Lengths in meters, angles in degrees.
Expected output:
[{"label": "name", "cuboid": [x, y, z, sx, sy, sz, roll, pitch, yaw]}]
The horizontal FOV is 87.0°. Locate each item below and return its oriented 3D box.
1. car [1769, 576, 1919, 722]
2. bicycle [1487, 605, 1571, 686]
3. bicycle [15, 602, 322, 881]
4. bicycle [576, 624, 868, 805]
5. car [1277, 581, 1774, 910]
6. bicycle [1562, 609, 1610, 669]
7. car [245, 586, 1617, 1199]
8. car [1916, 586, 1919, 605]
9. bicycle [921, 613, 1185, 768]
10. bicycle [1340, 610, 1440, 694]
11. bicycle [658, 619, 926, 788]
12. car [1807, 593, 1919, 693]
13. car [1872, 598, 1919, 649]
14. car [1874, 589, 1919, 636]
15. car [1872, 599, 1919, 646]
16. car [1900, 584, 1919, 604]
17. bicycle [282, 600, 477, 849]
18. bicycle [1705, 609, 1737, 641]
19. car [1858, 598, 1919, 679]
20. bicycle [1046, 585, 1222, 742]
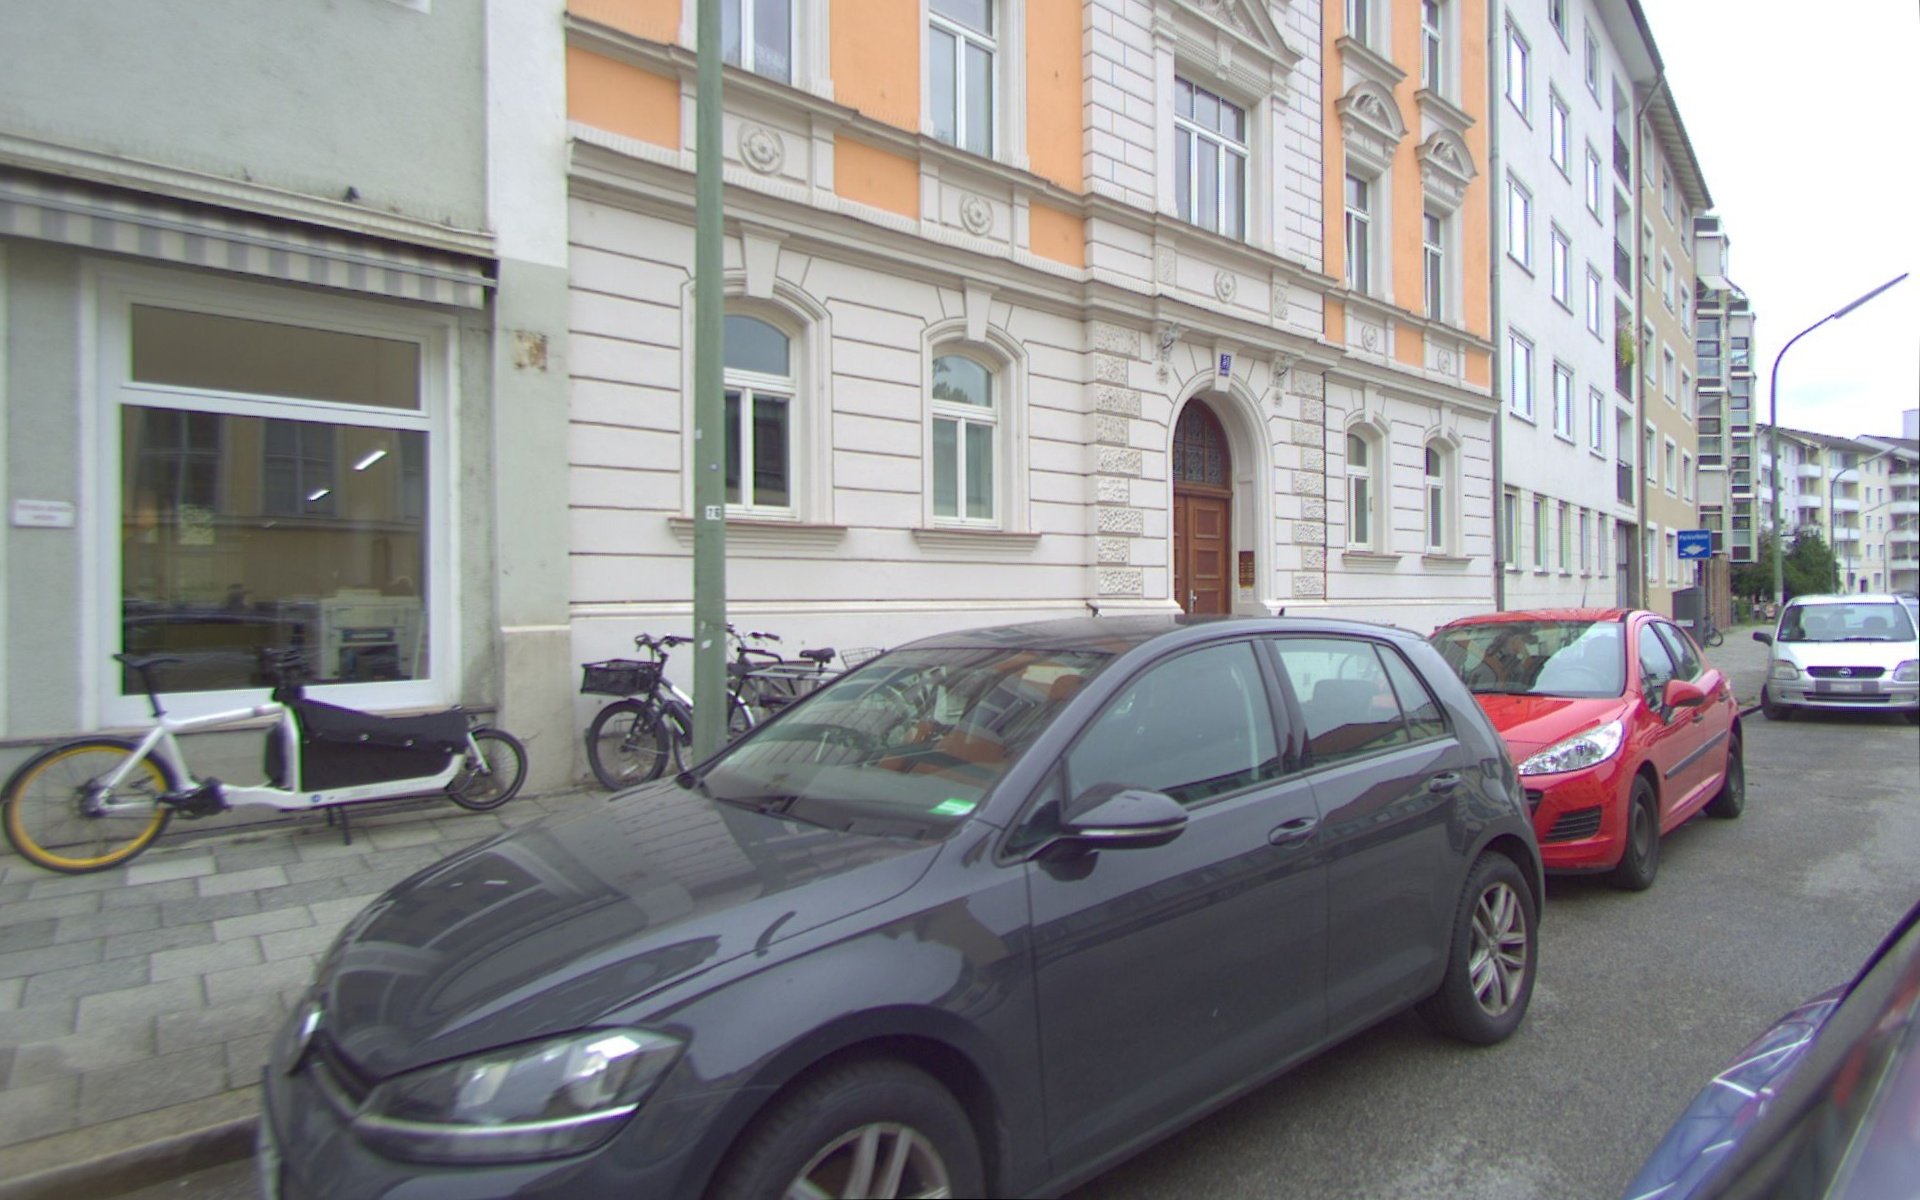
[{"label": "car", "cuboid": [12.043, 0.568, 13.504, 1.680, 1.695, 3.746, -2, -1, 42]}, {"label": "bicycle", "cuboid": [8.691, 0.655, 15.424, 0.722, 1.126, 1.965, 0, 0, 42]}, {"label": "bicycle", "cuboid": [-3.995, 0.651, 5.172, 0.248, 1.271, 1.214, 0, 0, 45]}, {"label": "bicycle", "cuboid": [-1.552, 0.721, 6.678, 1.817, 1.081, 0.514, 0, 0, 9]}, {"label": "car", "cuboid": [3.939, 0.691, 6.718, 4.077, 1.519, 1.688, 0, -2, -43]}, {"label": "bicycle", "cuboid": [12.152, 0.733, 19.611, 0.528, 1.085, 1.972, 0, 0, 39]}, {"label": "car", "cuboid": [0.365, 0.689, 3.270, 4.285, 1.420, 1.691, -1, 0, -39]}, {"label": "car", "cuboid": [84.720, -0.391, 87.889, 3.929, 1.660, 1.997, -1, 0, -40]}, {"label": "bicycle", "cuboid": [0.742, 0.704, 8.226, 2.056, 1.153, 0.583, 1, 0, 7]}, {"label": "bicycle", "cuboid": [5.870, 0.671, 13.772, 1.787, 1.037, 0.596, 0, 1, -44]}, {"label": "bicycle", "cuboid": [-1.147, 0.699, 7.108, 1.778, 1.103, 0.622, 0, 0, -5]}, {"label": "car", "cuboid": [15.869, 0.635, 17.031, 4.468, 1.513, 1.745, 0, 0, -40]}, {"label": "car", "cuboid": [28.878, 0.666, 30.632, 1.853, 1.432, 4.938, -1, 0, 42]}, {"label": "car", "cuboid": [36.101, 0.437, 38.349, 1.874, 1.666, 4.579, 0, 0, 38]}, {"label": "car", "cuboid": [32.516, 0.721, 34.542, 1.754, 1.383, 4.712, -6, -3, 40]}, {"label": "car", "cuboid": [78.621, -0.487, 82.746, 3.928, 1.616, 1.998, -1, 0, -39]}, {"label": "bicycle", "cuboid": [-3.193, 0.638, 5.603, 0.248, 1.271, 0.901, 0, 0, 45]}, {"label": "bicycle", "cuboid": [25.677, 0.826, 34.134, 0.676, 1.046, 1.725, 0, 0, 44]}, {"label": "car", "cuboid": [19.268, 0.709, 20.300, 1.704, 1.473, 4.333, -4, -3, 43]}, {"label": "bicycle", "cuboid": [1.758, 0.558, 9.980, 2.057, 1.402, 0.596, 0, 1, -44]}]
